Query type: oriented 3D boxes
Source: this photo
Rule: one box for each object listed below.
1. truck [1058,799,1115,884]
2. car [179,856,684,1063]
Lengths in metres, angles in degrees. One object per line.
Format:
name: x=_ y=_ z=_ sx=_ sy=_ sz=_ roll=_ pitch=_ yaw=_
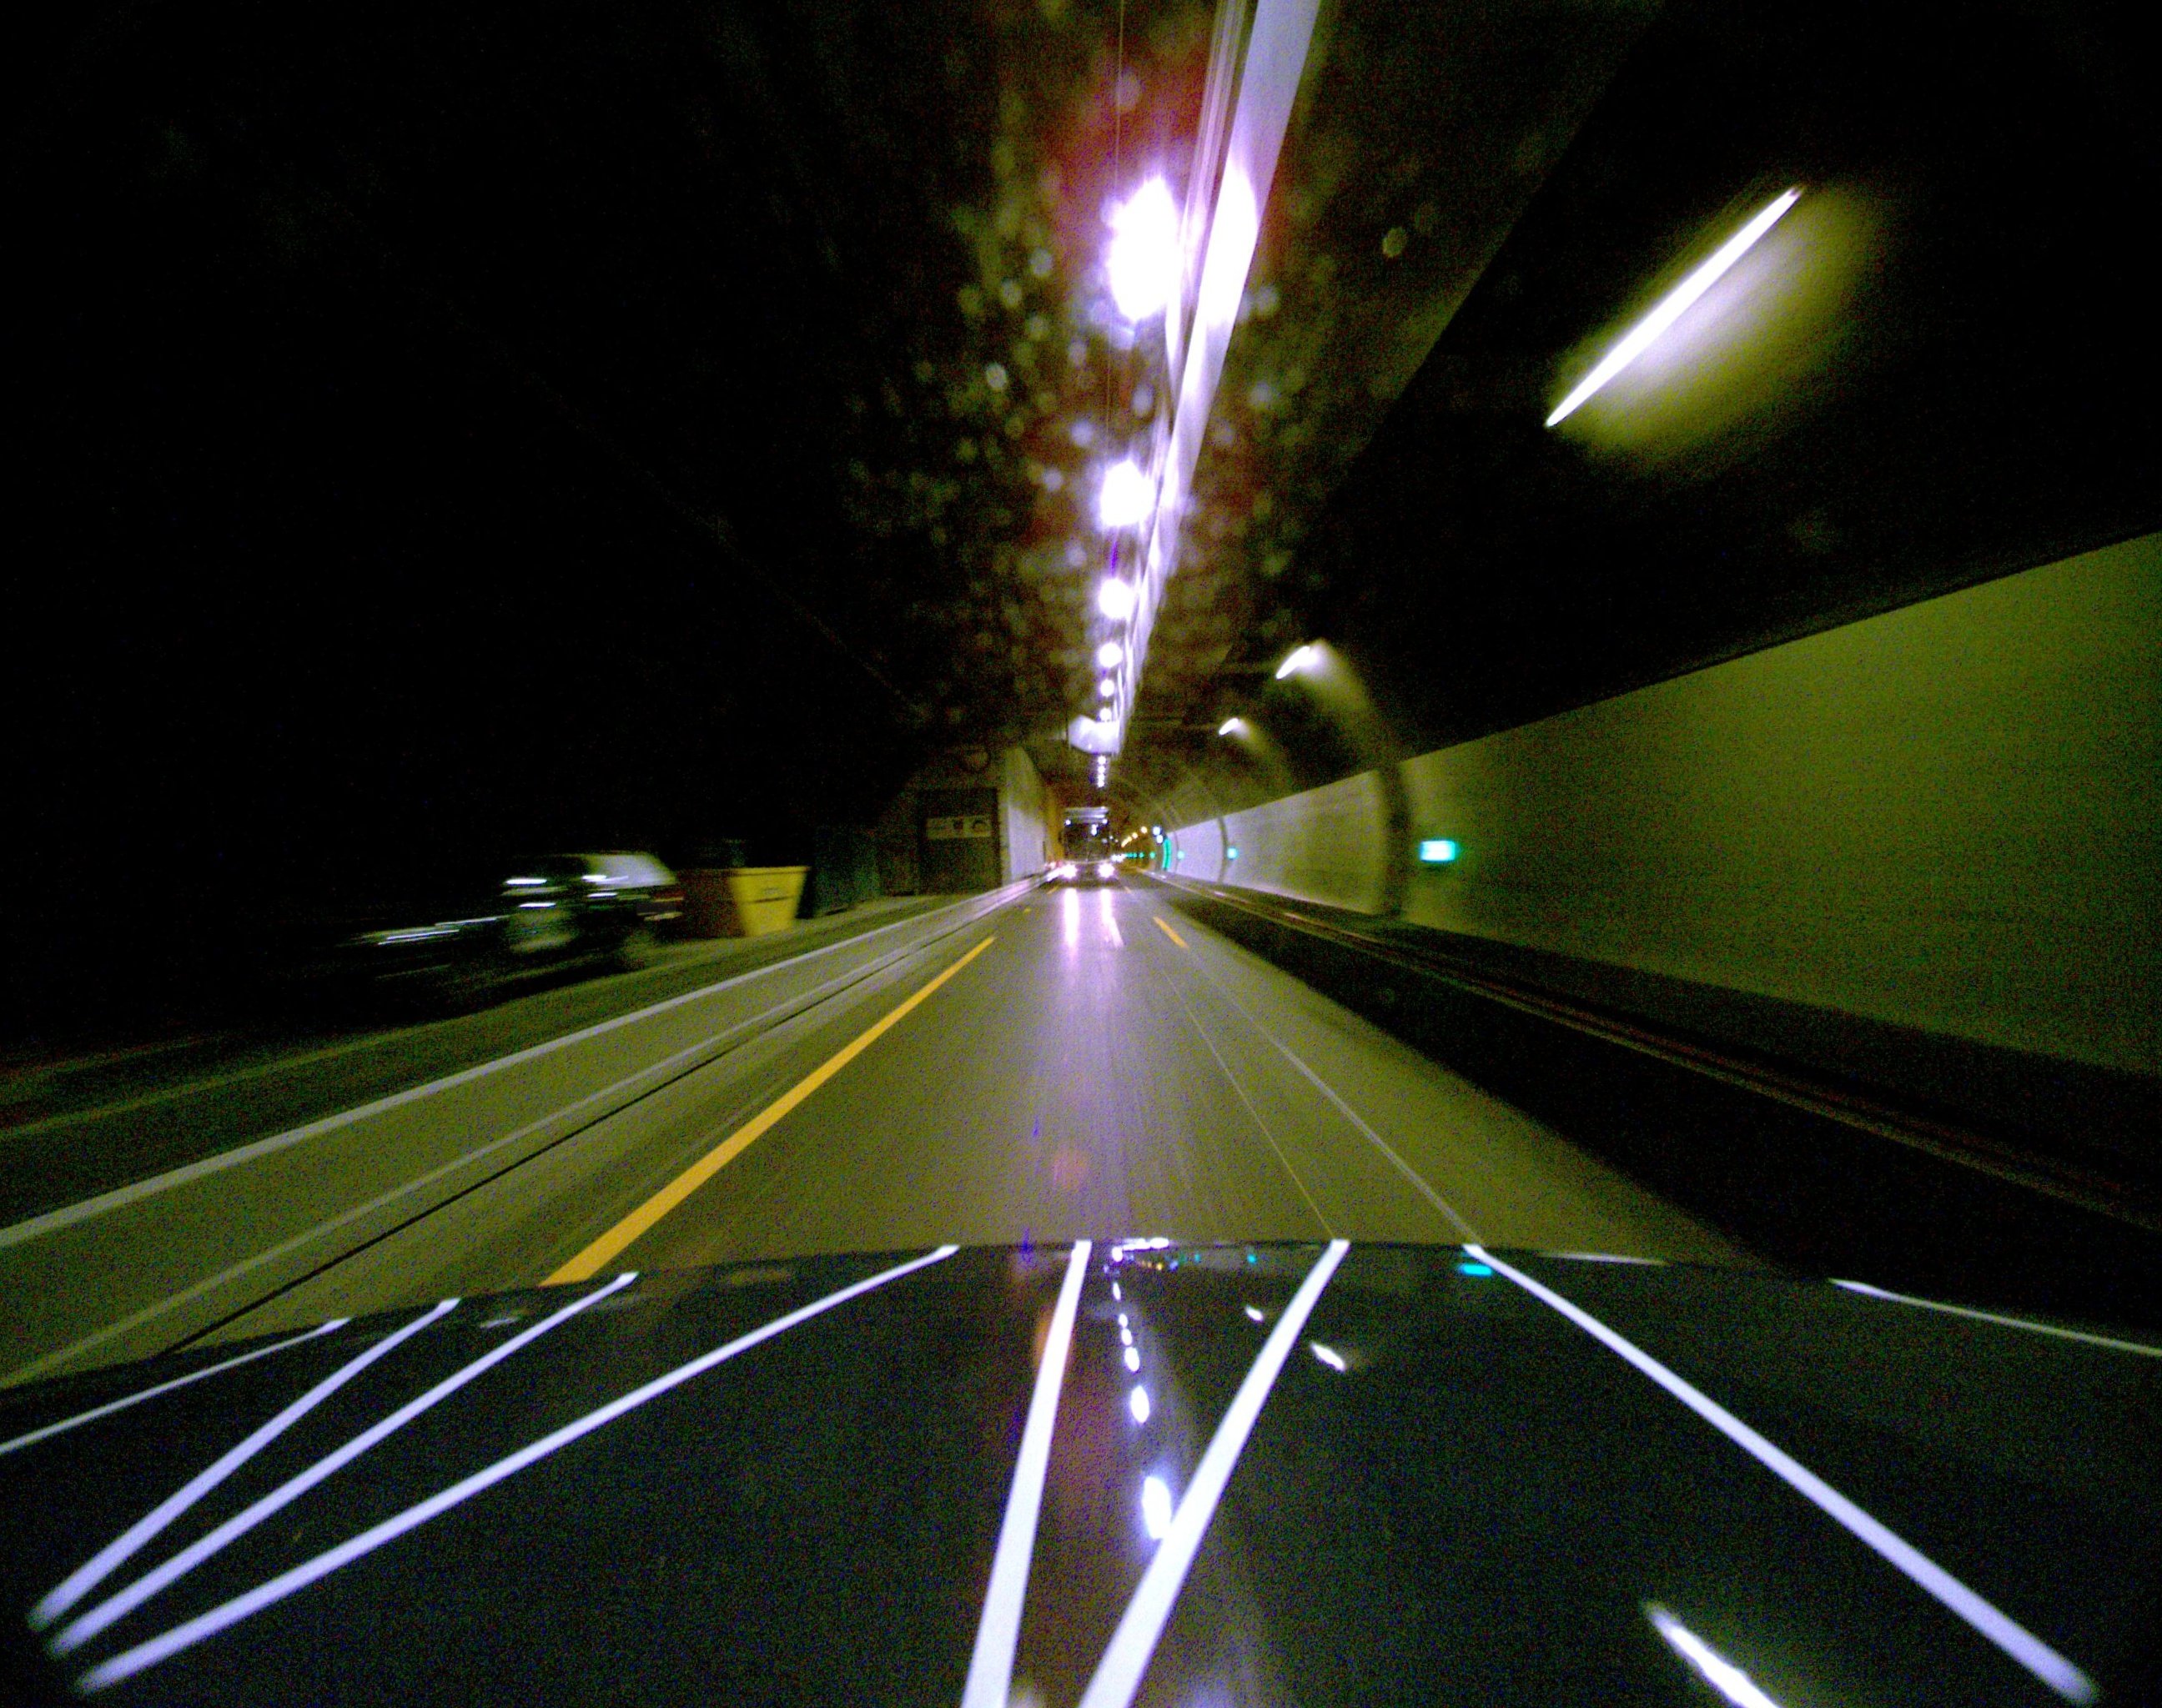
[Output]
truck: x=0.423 y=-0.651 z=42.444 sx=2.769 sy=4.198 sz=7.978 roll=-1 pitch=1 yaw=2
car: x=-7.533 y=0.999 z=9.877 sx=1.832 sy=1.848 sz=5.441 roll=-3 pitch=0 yaw=-1
